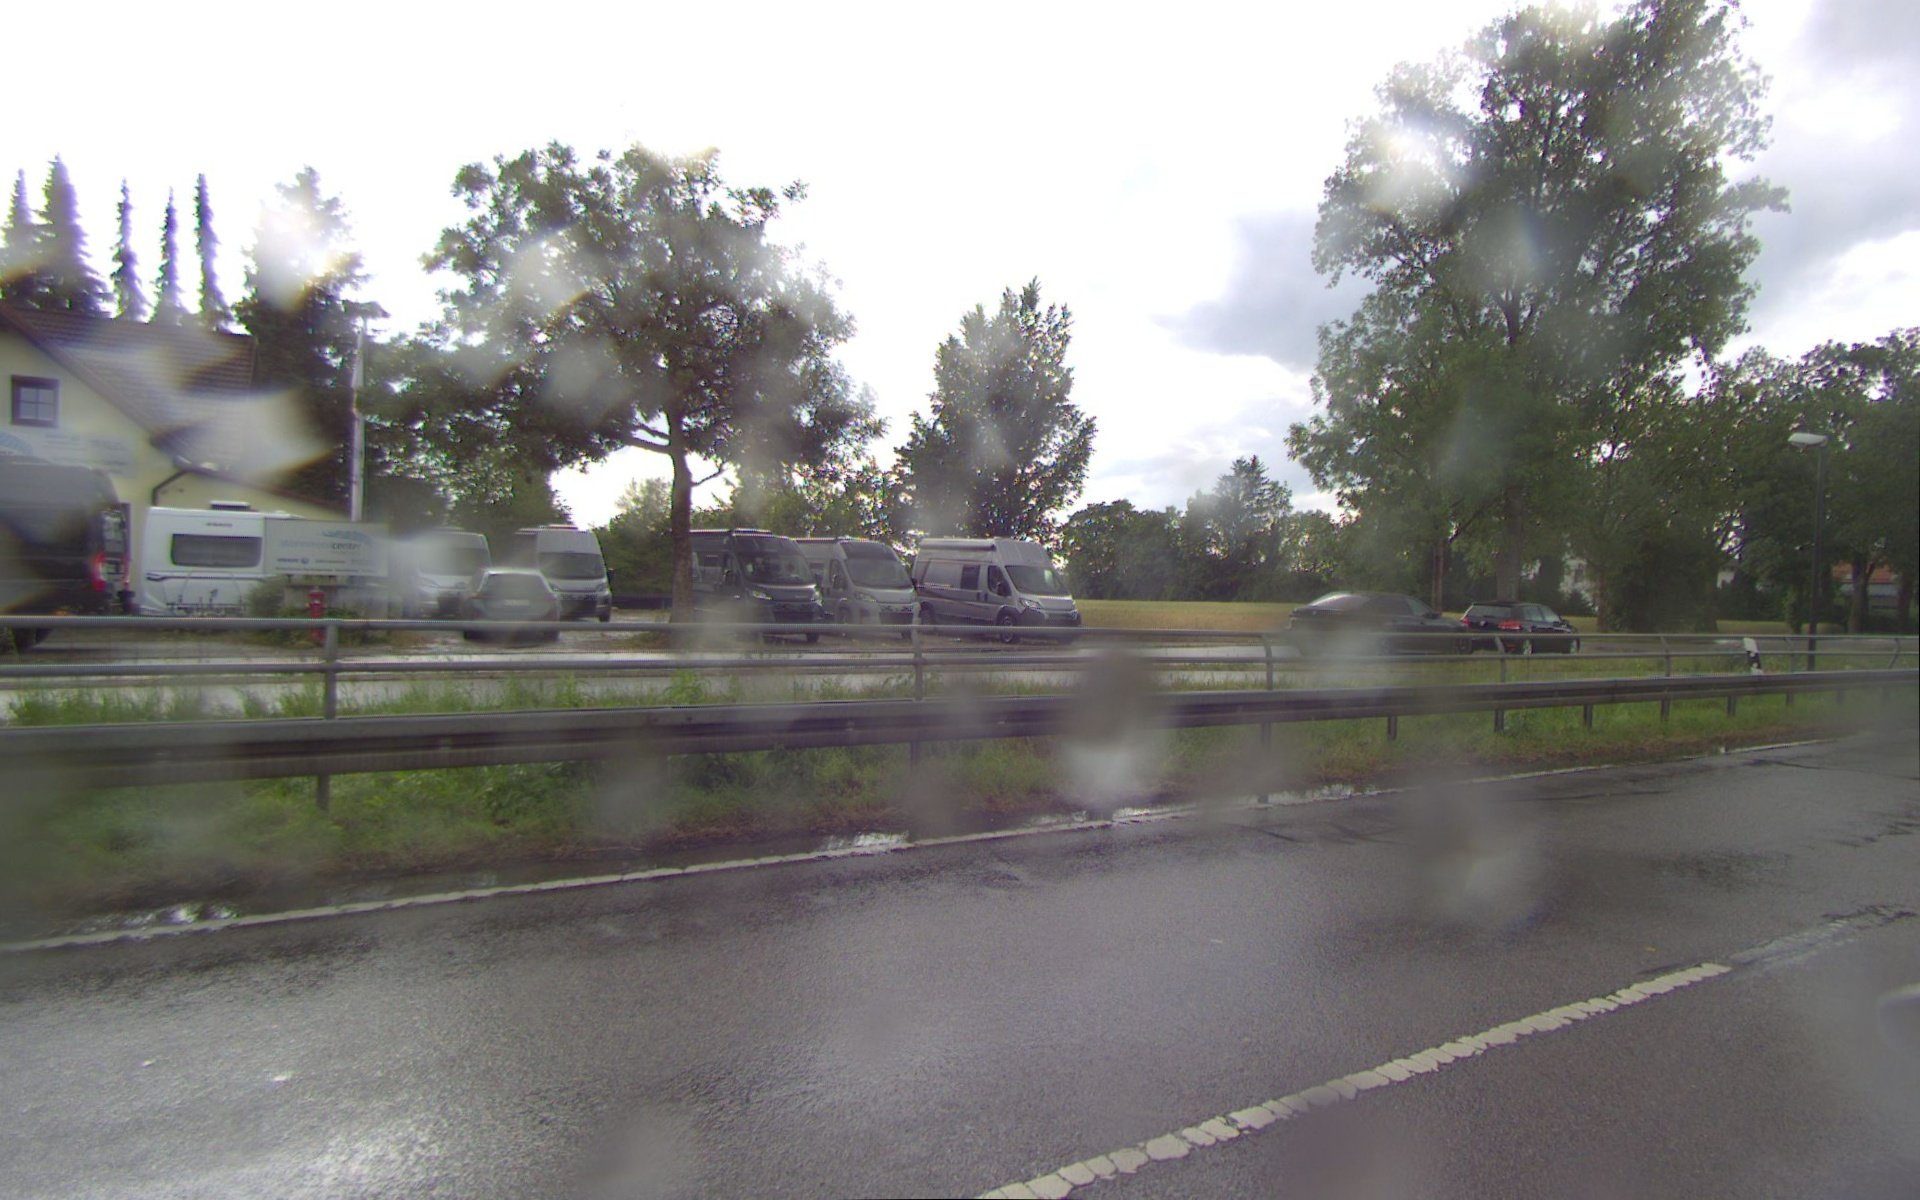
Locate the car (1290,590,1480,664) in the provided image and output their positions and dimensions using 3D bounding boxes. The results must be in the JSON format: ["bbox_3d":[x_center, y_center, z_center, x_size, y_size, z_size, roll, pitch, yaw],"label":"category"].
[{"bbox_3d":[9.759,0.595,22.889,5.070,1.511,1.505,1,2,-35],"label":"car"}]

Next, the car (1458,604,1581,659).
[{"bbox_3d":[14.832,0.812,26.557,3.859,1.349,1.274,1,1,-35],"label":"car"}]

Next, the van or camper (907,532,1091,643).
[{"bbox_3d":[0.886,-0.385,27.580,2.059,2.713,5.841,1,2,-32],"label":"van or camper"}]

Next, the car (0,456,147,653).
[{"bbox_3d":[-15.460,-0.708,14.488,5.512,2.800,2.369,1,2,-33],"label":"car"}]

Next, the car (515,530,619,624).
[{"bbox_3d":[-12.110,-0.716,30.684,2.066,2.573,6.063,1,1,-30],"label":"car"}]

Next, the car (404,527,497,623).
[{"bbox_3d":[-14.759,-0.726,28.888,2.066,2.449,6.063,1,1,-30],"label":"car"}]

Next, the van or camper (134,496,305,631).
[{"bbox_3d":[-16.603,-0.796,22.902,2.533,2.626,6.190,1,2,-31],"label":"van or camper"}]

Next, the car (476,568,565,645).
[{"bbox_3d":[-9.875,0.094,22.441,1.521,1.516,3.868,1,2,-28],"label":"car"}]

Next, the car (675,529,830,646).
[{"bbox_3d":[-5.183,-0.352,24.433,1.978,2.535,5.153,1,2,-32],"label":"car"}]

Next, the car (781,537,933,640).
[{"bbox_3d":[-2.898,-0.356,27.024,1.978,2.492,5.063,1,2,-32],"label":"car"}]
